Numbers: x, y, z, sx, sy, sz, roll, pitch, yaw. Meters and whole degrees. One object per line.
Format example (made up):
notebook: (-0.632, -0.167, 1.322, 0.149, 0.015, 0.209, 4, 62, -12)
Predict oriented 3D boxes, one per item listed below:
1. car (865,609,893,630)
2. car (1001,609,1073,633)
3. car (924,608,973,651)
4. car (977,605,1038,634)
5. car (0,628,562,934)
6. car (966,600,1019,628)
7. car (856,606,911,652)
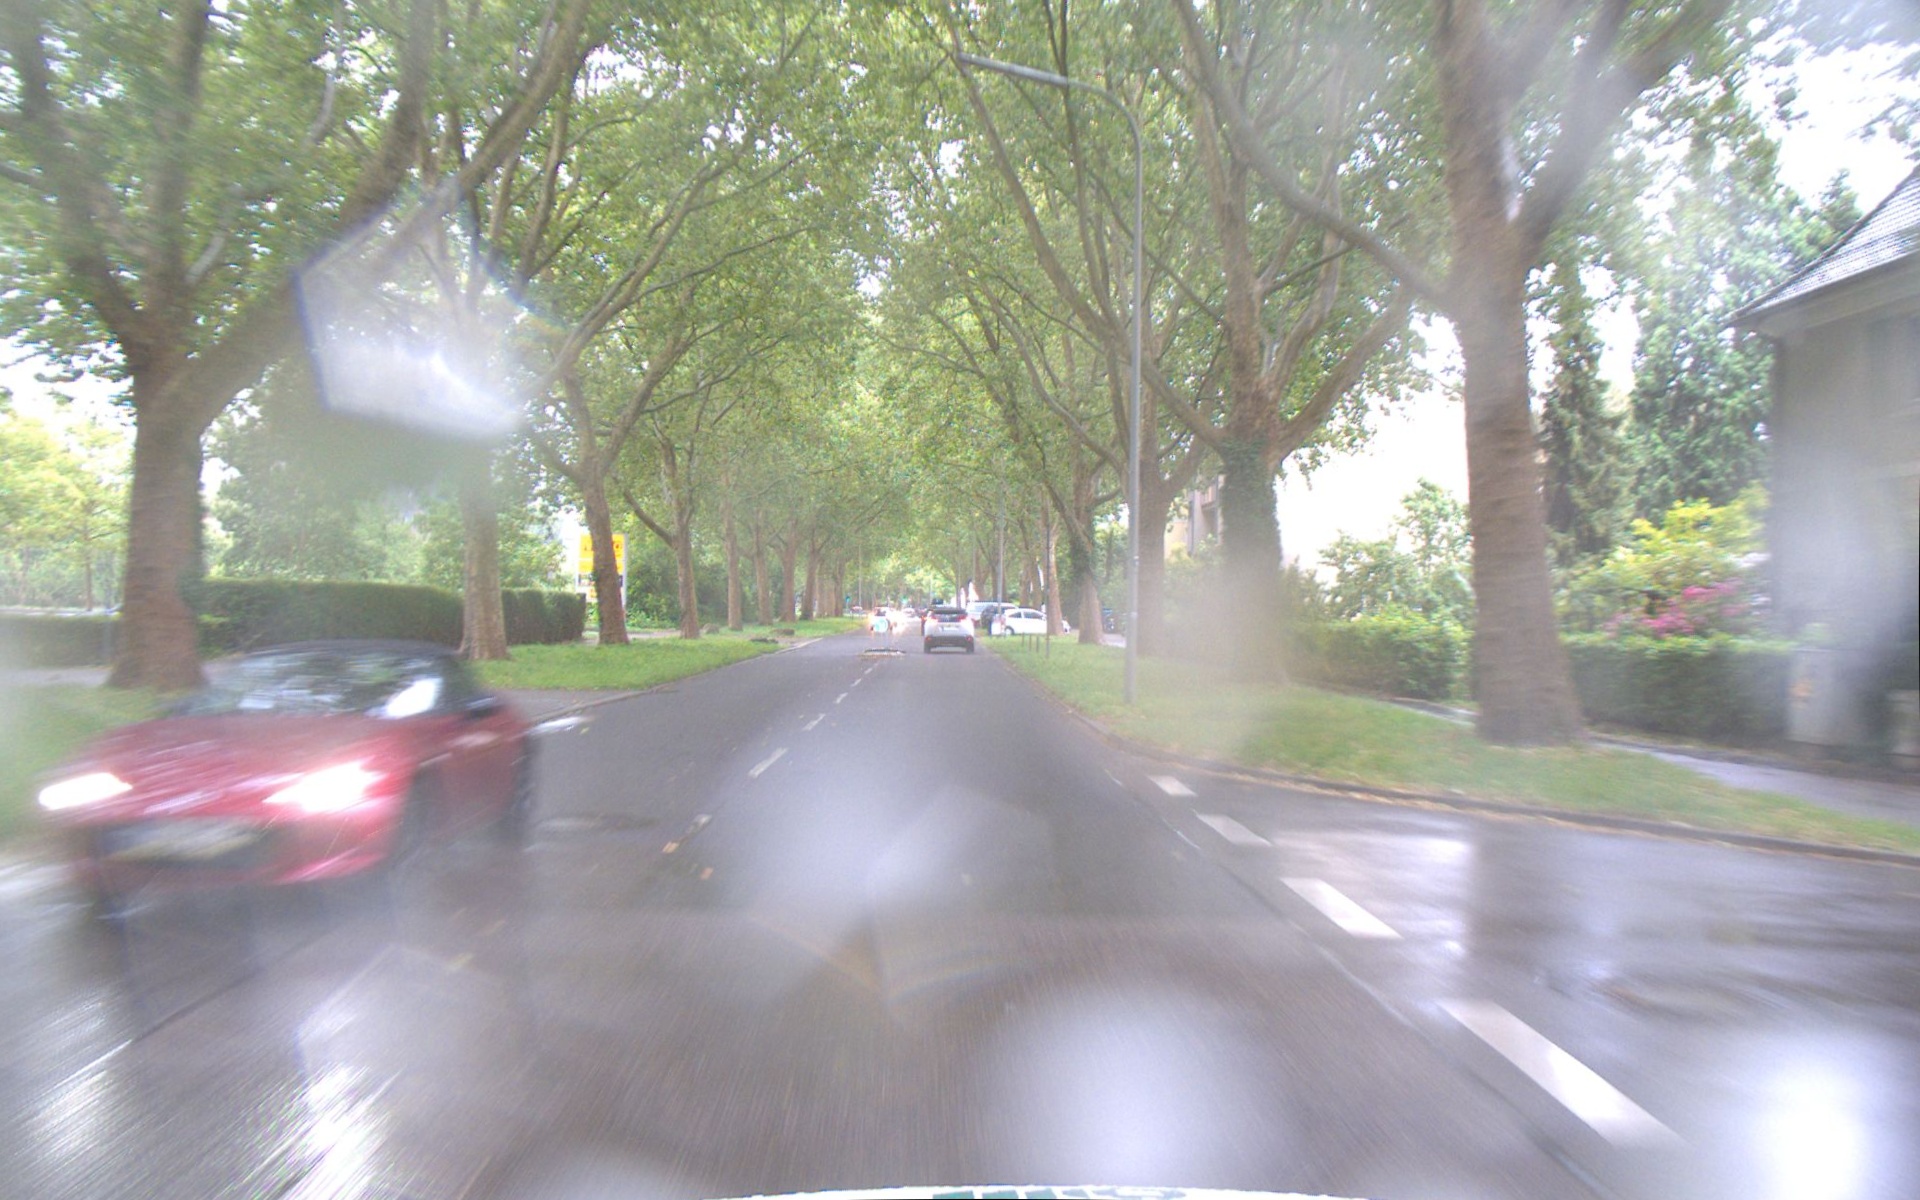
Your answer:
car: (-5.540, 1.322, 113.822, 1.685, 1.277, 4.000, 2, 0, 0)
car: (3.878, 1.069, 84.021, 3.477, 1.175, 1.710, -1, 0, -4)
car: (-0.411, 1.009, 57.959, 1.671, 1.436, 3.644, -1, 0, -1)
car: (2.791, 1.157, 97.669, 3.476, 1.674, 1.711, -1, 0, -3)
car: (-3.466, 0.837, 9.187, 1.671, 1.272, 3.644, -1, 0, -1)
car: (2.152, 0.954, 111.773, 3.476, 1.873, 1.711, -1, 0, -3)
car: (-2.479, 0.926, 54.399, 1.671, 1.436, 3.644, -1, 0, -1)
